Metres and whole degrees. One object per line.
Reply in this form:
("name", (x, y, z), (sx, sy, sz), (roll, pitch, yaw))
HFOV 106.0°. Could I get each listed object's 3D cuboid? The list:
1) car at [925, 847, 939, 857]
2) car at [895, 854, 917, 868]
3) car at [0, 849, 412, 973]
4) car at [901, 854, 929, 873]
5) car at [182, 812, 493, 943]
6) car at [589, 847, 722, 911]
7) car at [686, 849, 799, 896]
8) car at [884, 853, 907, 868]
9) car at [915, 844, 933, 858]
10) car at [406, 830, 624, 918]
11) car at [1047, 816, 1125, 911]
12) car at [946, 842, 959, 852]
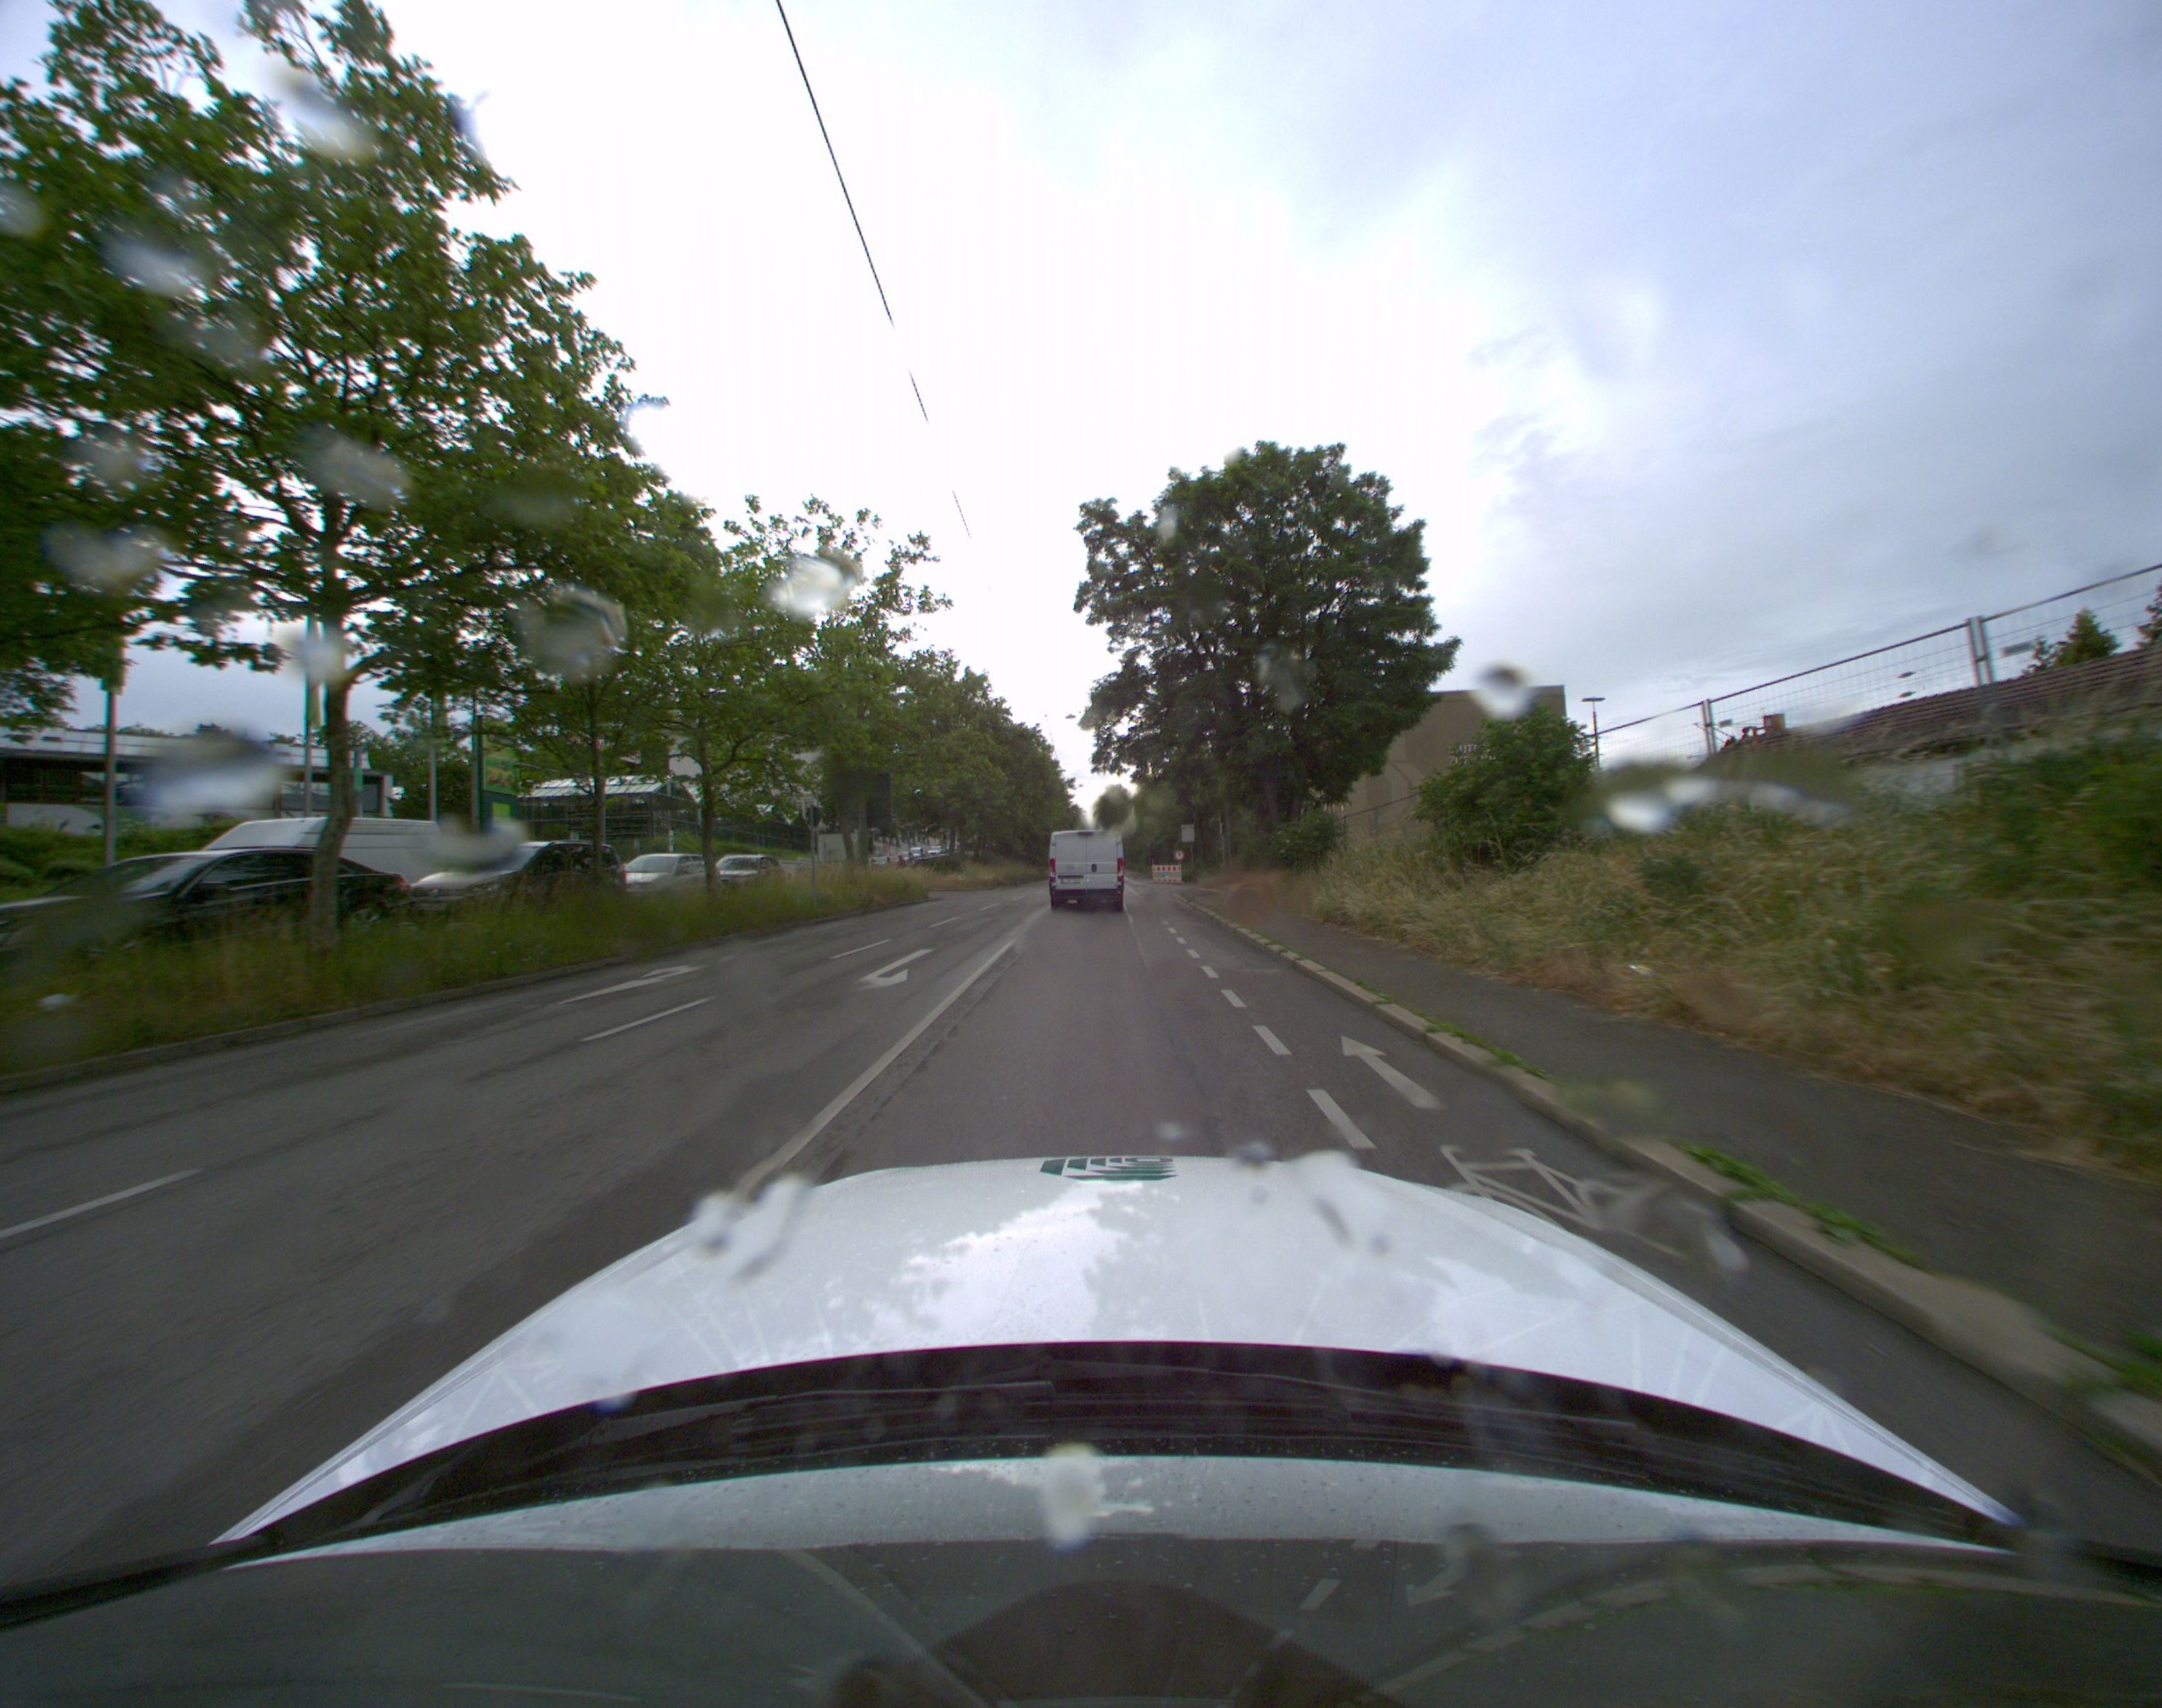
("car", (-18.746, -0.267, 102.455), (1.209, 1.133, 2.452), (-3, -2, 1))
("car", (-17.626, 0.736, 82.108), (1.355, 1.310, 3.086), (-3, -2, 1))
("car", (-10.994, 0.591, 10.152), (1.691, 1.205, 4.220), (-3, 0, 2))
("car", (-11.243, 0.655, 55.281), (1.346, 1.131, 2.751), (-2, -2, -1))
("car", (-16.432, 0.418, 18.602), (1.958, 2.443, 5.651), (-3, 1, -2))
("car", (-10.580, 0.642, 20.529), (1.356, 1.395, 3.707), (-3, -2, 0))
("car", (-10.603, 0.627, 25.901), (1.532, 1.293, 4.546), (-3, -2, 2))
("car", (-17.565, 0.637, 77.038), (1.355, 1.310, 3.086), (-3, -2, 1))
("car", (-16.950, -0.278, 87.956), (1.379, 1.298, 3.012), (-2, -2, -2))
("car", (-10.772, 0.412, 15.855), (1.648, 1.452, 3.645), (-3, -2, 0))
("car", (0.189, 0.247, 24.233), (2.043, 2.516, 4.945), (1, 0, 1))
("car", (-18.743, -1.030, 118.952), (1.595, 1.250, 2.908), (-2, -2, -2))
